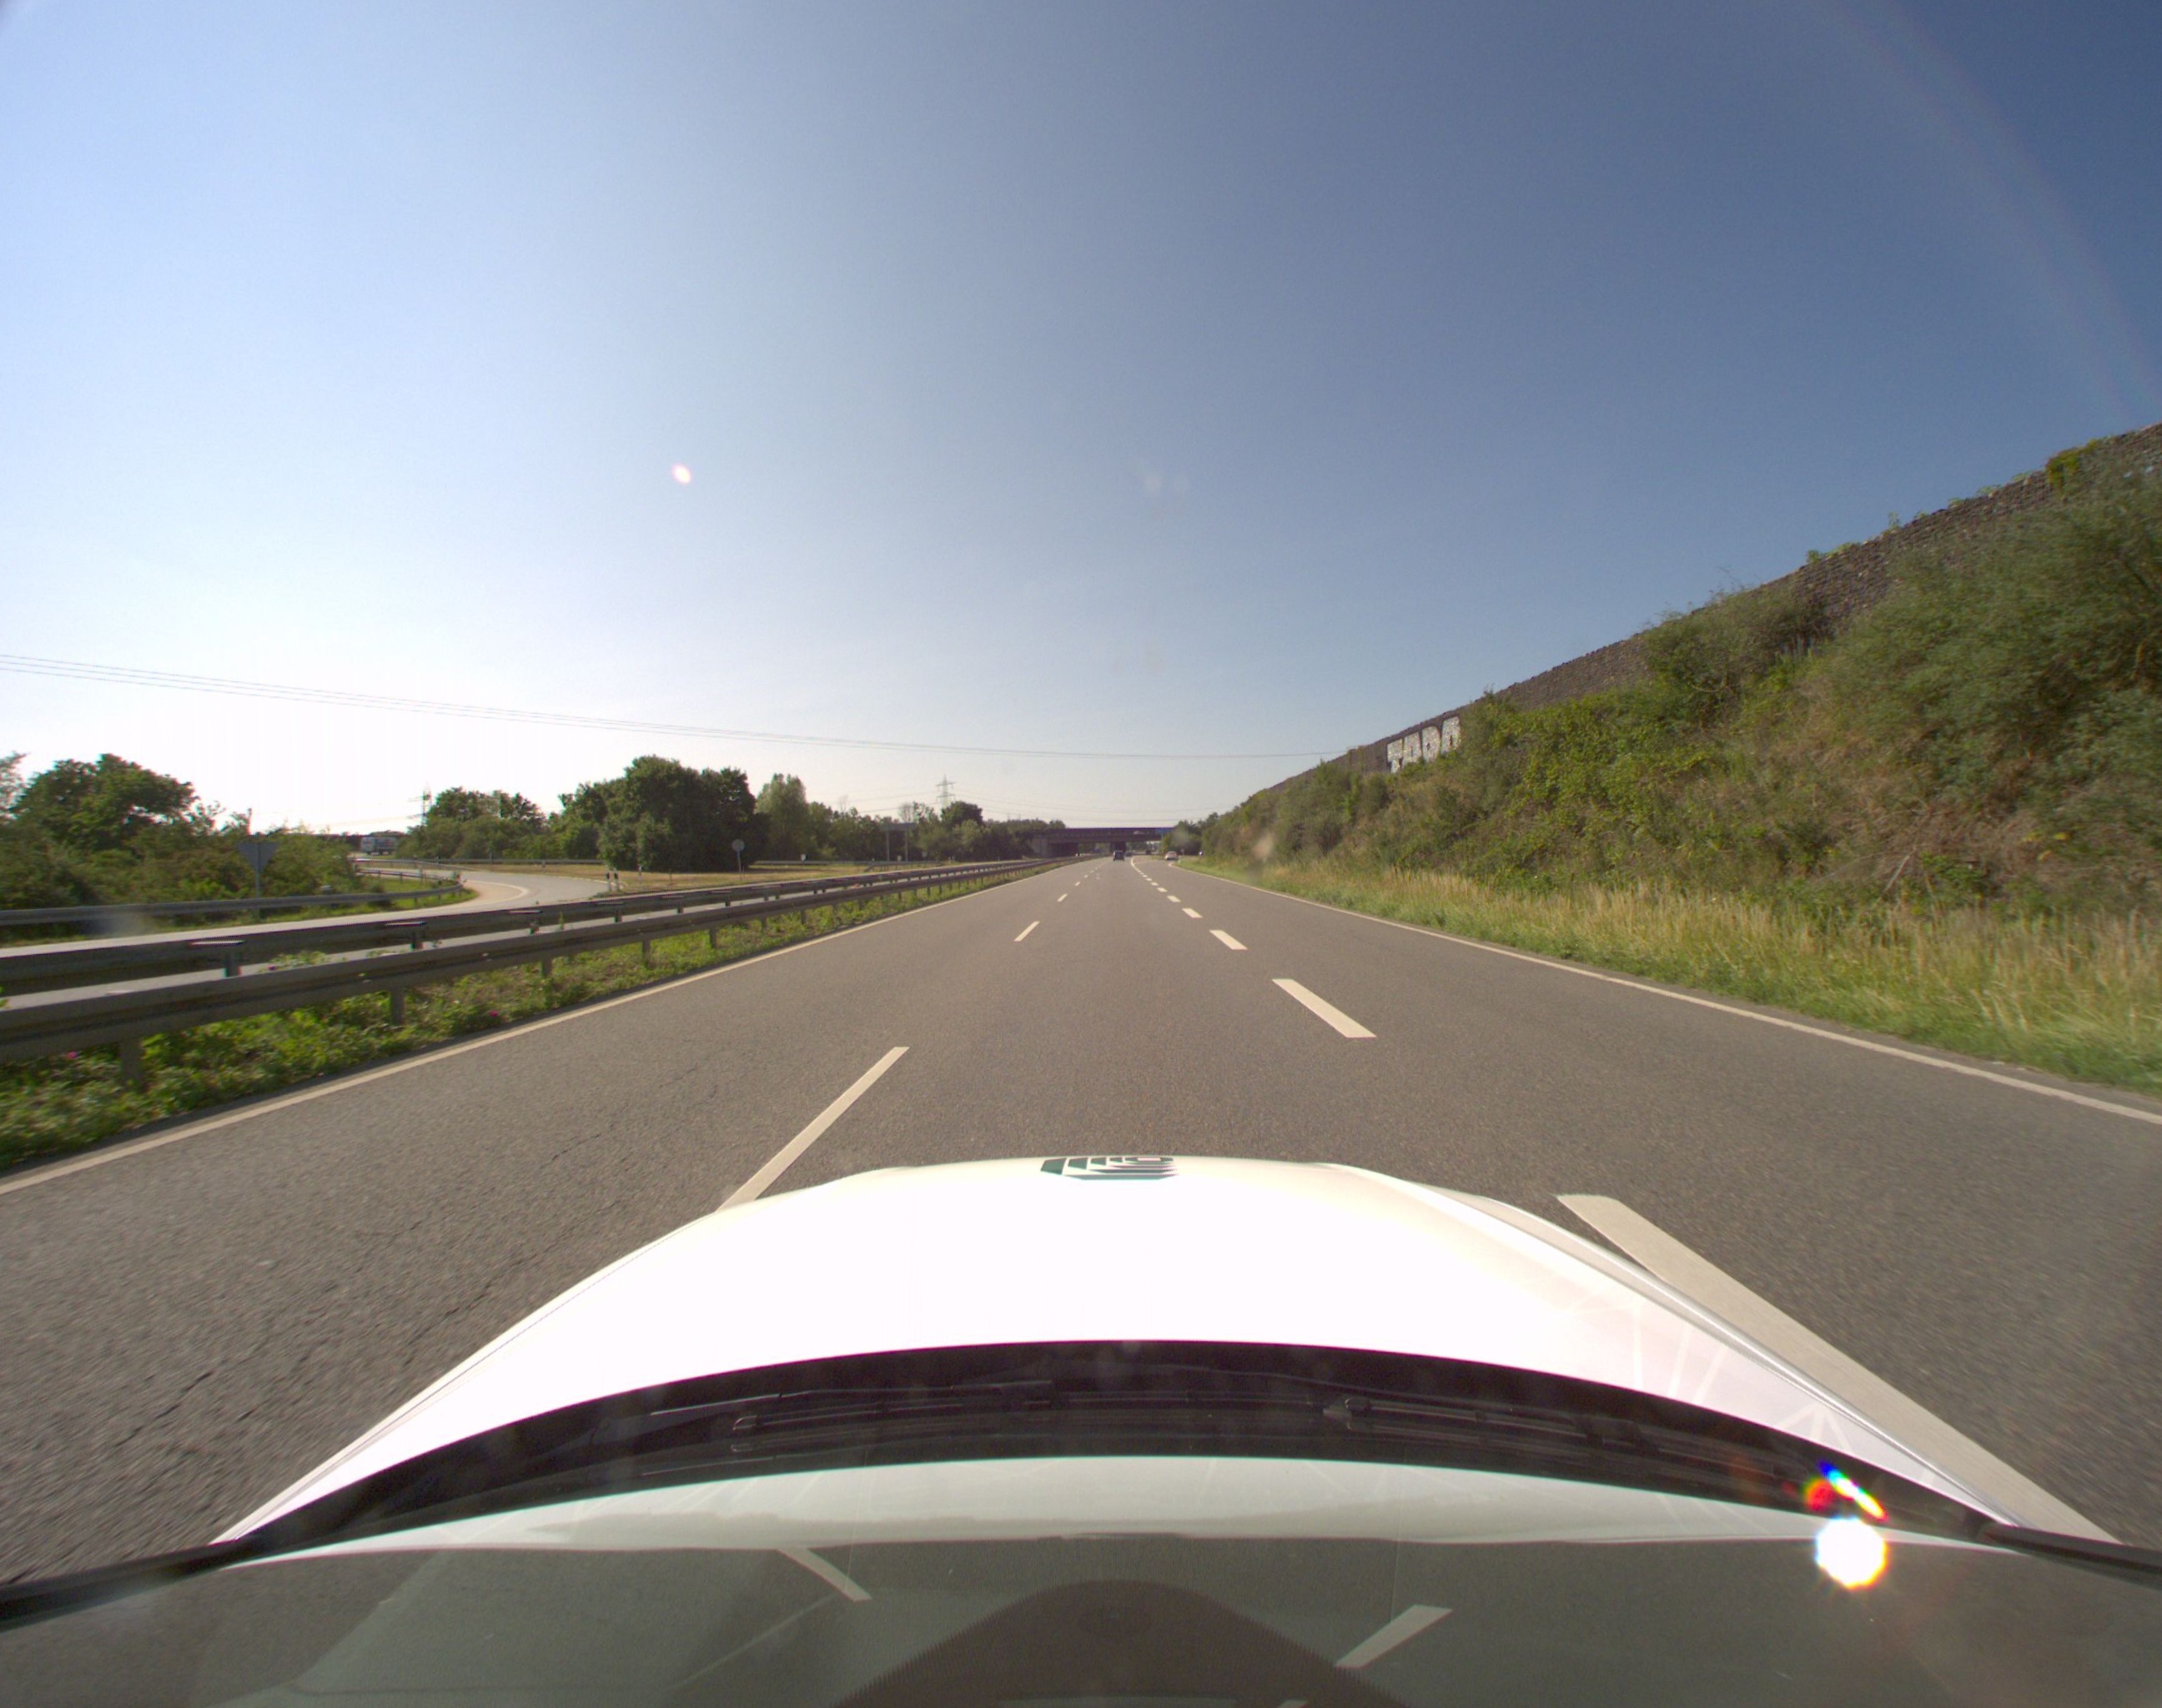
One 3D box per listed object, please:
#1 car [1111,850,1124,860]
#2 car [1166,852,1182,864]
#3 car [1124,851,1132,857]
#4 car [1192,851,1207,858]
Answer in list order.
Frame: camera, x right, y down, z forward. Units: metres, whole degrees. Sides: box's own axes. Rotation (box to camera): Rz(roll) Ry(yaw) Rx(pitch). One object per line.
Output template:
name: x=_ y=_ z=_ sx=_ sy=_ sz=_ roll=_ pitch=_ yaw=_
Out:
car: x=6.000 y=0.218 z=133.578 sx=1.841 sy=1.644 sz=4.005 roll=-1 pitch=0 yaw=5
car: x=14.743 y=0.615 z=128.875 sx=1.782 sy=1.665 sz=4.018 roll=2 pitch=1 yaw=18
car: x=12.365 y=-0.043 z=213.558 sx=1.841 sy=1.644 sz=4.005 roll=-1 pitch=0 yaw=5
car: x=23.018 y=0.163 z=157.926 sx=1.885 sy=1.297 sz=4.023 roll=2 pitch=1 yaw=24
